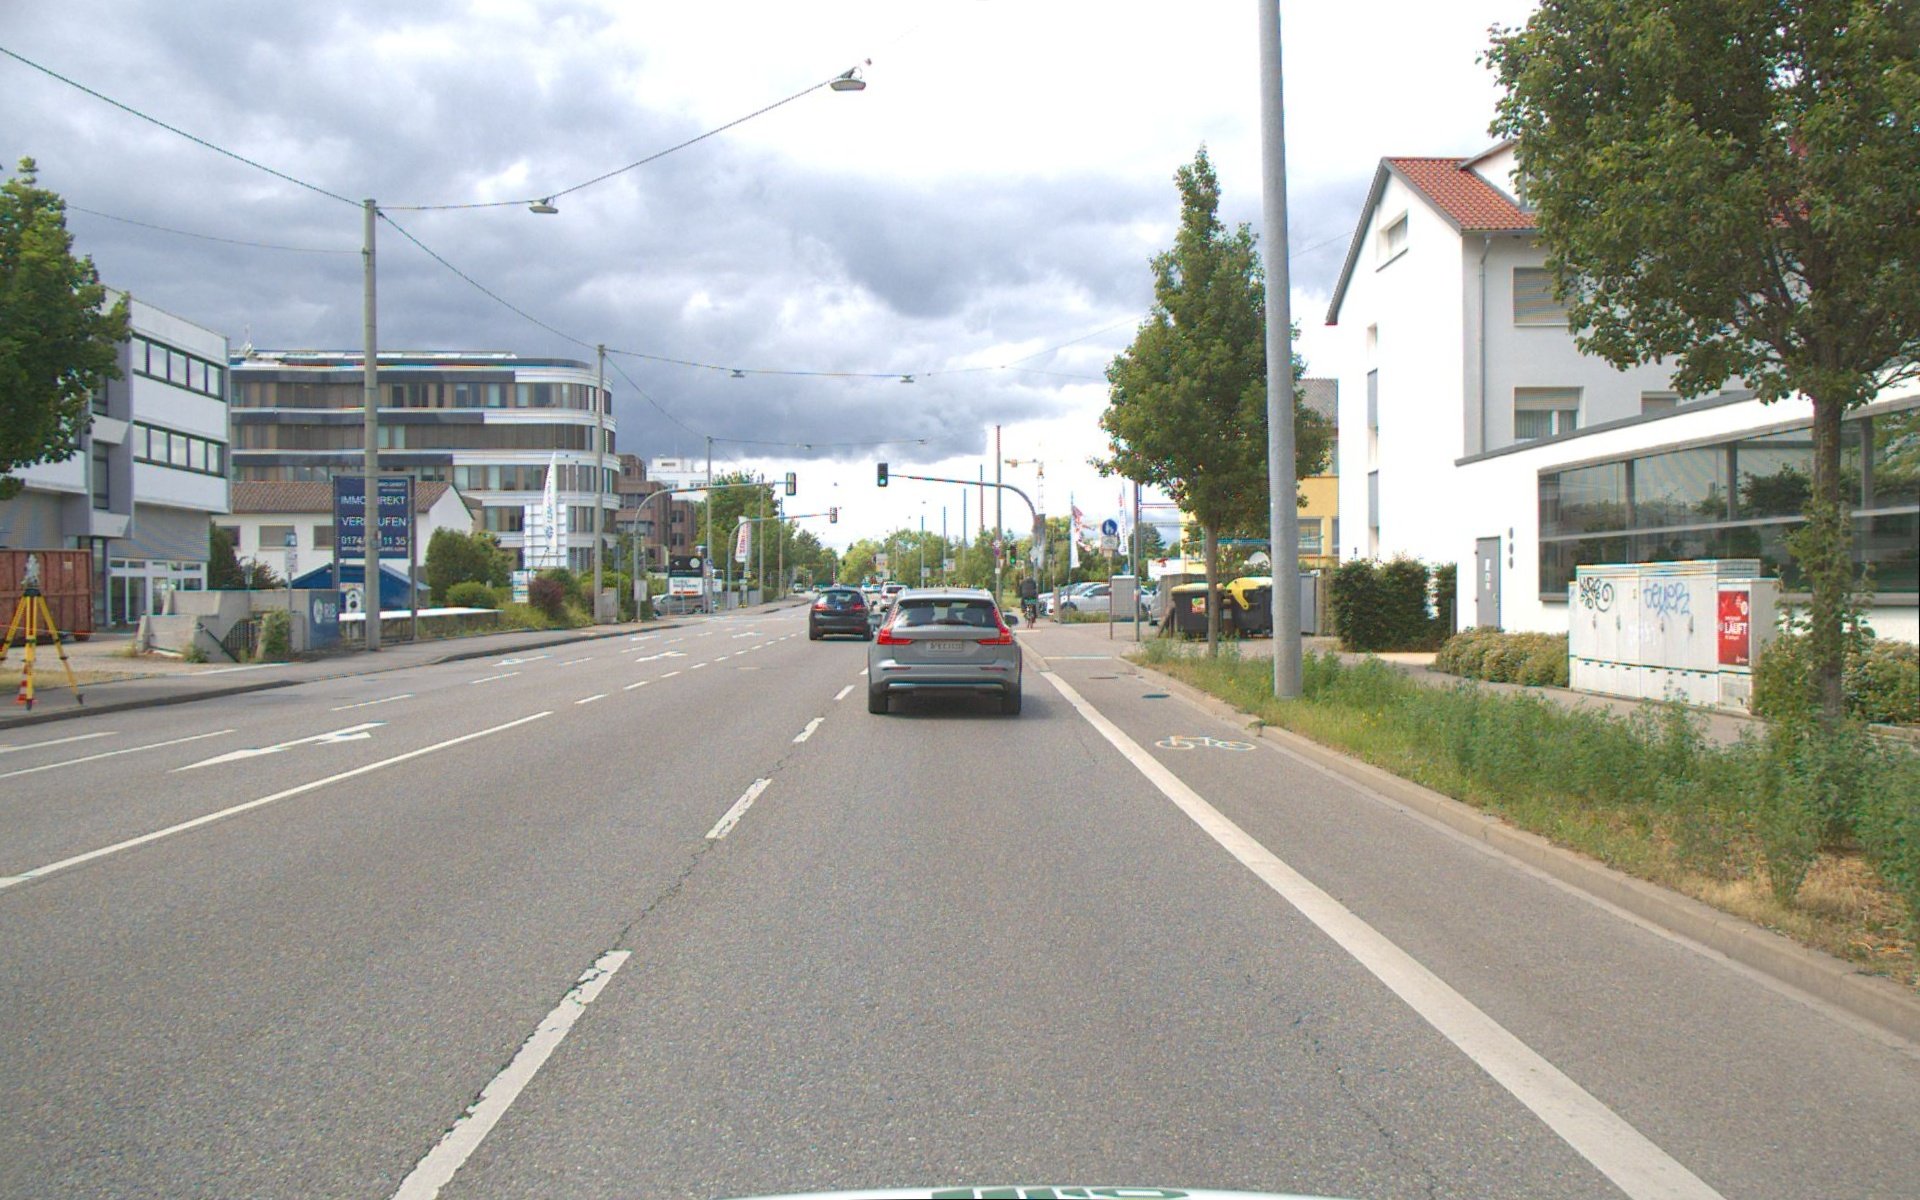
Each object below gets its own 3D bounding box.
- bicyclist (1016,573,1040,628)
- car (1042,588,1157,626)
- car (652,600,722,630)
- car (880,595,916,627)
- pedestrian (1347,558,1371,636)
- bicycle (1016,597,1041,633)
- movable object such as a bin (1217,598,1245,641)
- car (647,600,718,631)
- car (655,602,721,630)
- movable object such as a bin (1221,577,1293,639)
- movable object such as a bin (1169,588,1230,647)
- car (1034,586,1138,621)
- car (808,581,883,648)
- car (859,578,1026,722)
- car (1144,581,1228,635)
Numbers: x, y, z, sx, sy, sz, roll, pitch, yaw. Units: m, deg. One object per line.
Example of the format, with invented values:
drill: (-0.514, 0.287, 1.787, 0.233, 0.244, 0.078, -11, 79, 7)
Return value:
bicyclist: (2.198, 0.017, 53.690, 0.625, 1.704, 0.890, -4, 0, -1)
car: (5.769, 0.293, 68.855, 4.601, 1.519, 2.045, 0, 0, -2)
car: (-17.178, 0.933, 104.400, 4.145, 1.411, 1.981, -6, -1, -7)
car: (-3.490, 0.627, 93.119, 1.953, 1.724, 3.998, 1, -1, -2)
pedestrian: (9.389, -0.065, 38.945, 0.496, 1.796, 0.501, 1, -1, 15)
bicycle: (2.225, 0.476, 53.684, 0.625, 1.081, 1.977, -4, 0, -1)
movable object such as a bin: (6.674, 0.493, 40.777, 0.557, 1.044, 0.404, -2, -2, 36)
car: (-16.630, 0.921, 99.246, 4.019, 1.421, 1.904, -6, 1, -9)
car: (-17.578, 1.028, 106.934, 3.910, 1.393, 1.847, -6, -1, -3)
movable object such as a bin: (7.204, 0.205, 40.066, 1.297, 1.461, 1.246, -2, -2, 36)
movable object such as a bin: (5.764, 0.419, 39.801, 1.291, 1.385, 1.252, -1, -1, 15)
car: (5.869, 0.142, 77.398, 4.702, 1.506, 2.032, 1, 0, 0)
car: (-3.195, 0.419, 46.538, 1.954, 1.747, 3.997, 1, -1, -3)
car: (-0.184, 0.595, 20.729, 1.857, 1.581, 4.000, 1, -1, 0)
car: (7.001, 0.232, 51.670, 1.837, 1.572, 4.519, -1, 0, -2)
